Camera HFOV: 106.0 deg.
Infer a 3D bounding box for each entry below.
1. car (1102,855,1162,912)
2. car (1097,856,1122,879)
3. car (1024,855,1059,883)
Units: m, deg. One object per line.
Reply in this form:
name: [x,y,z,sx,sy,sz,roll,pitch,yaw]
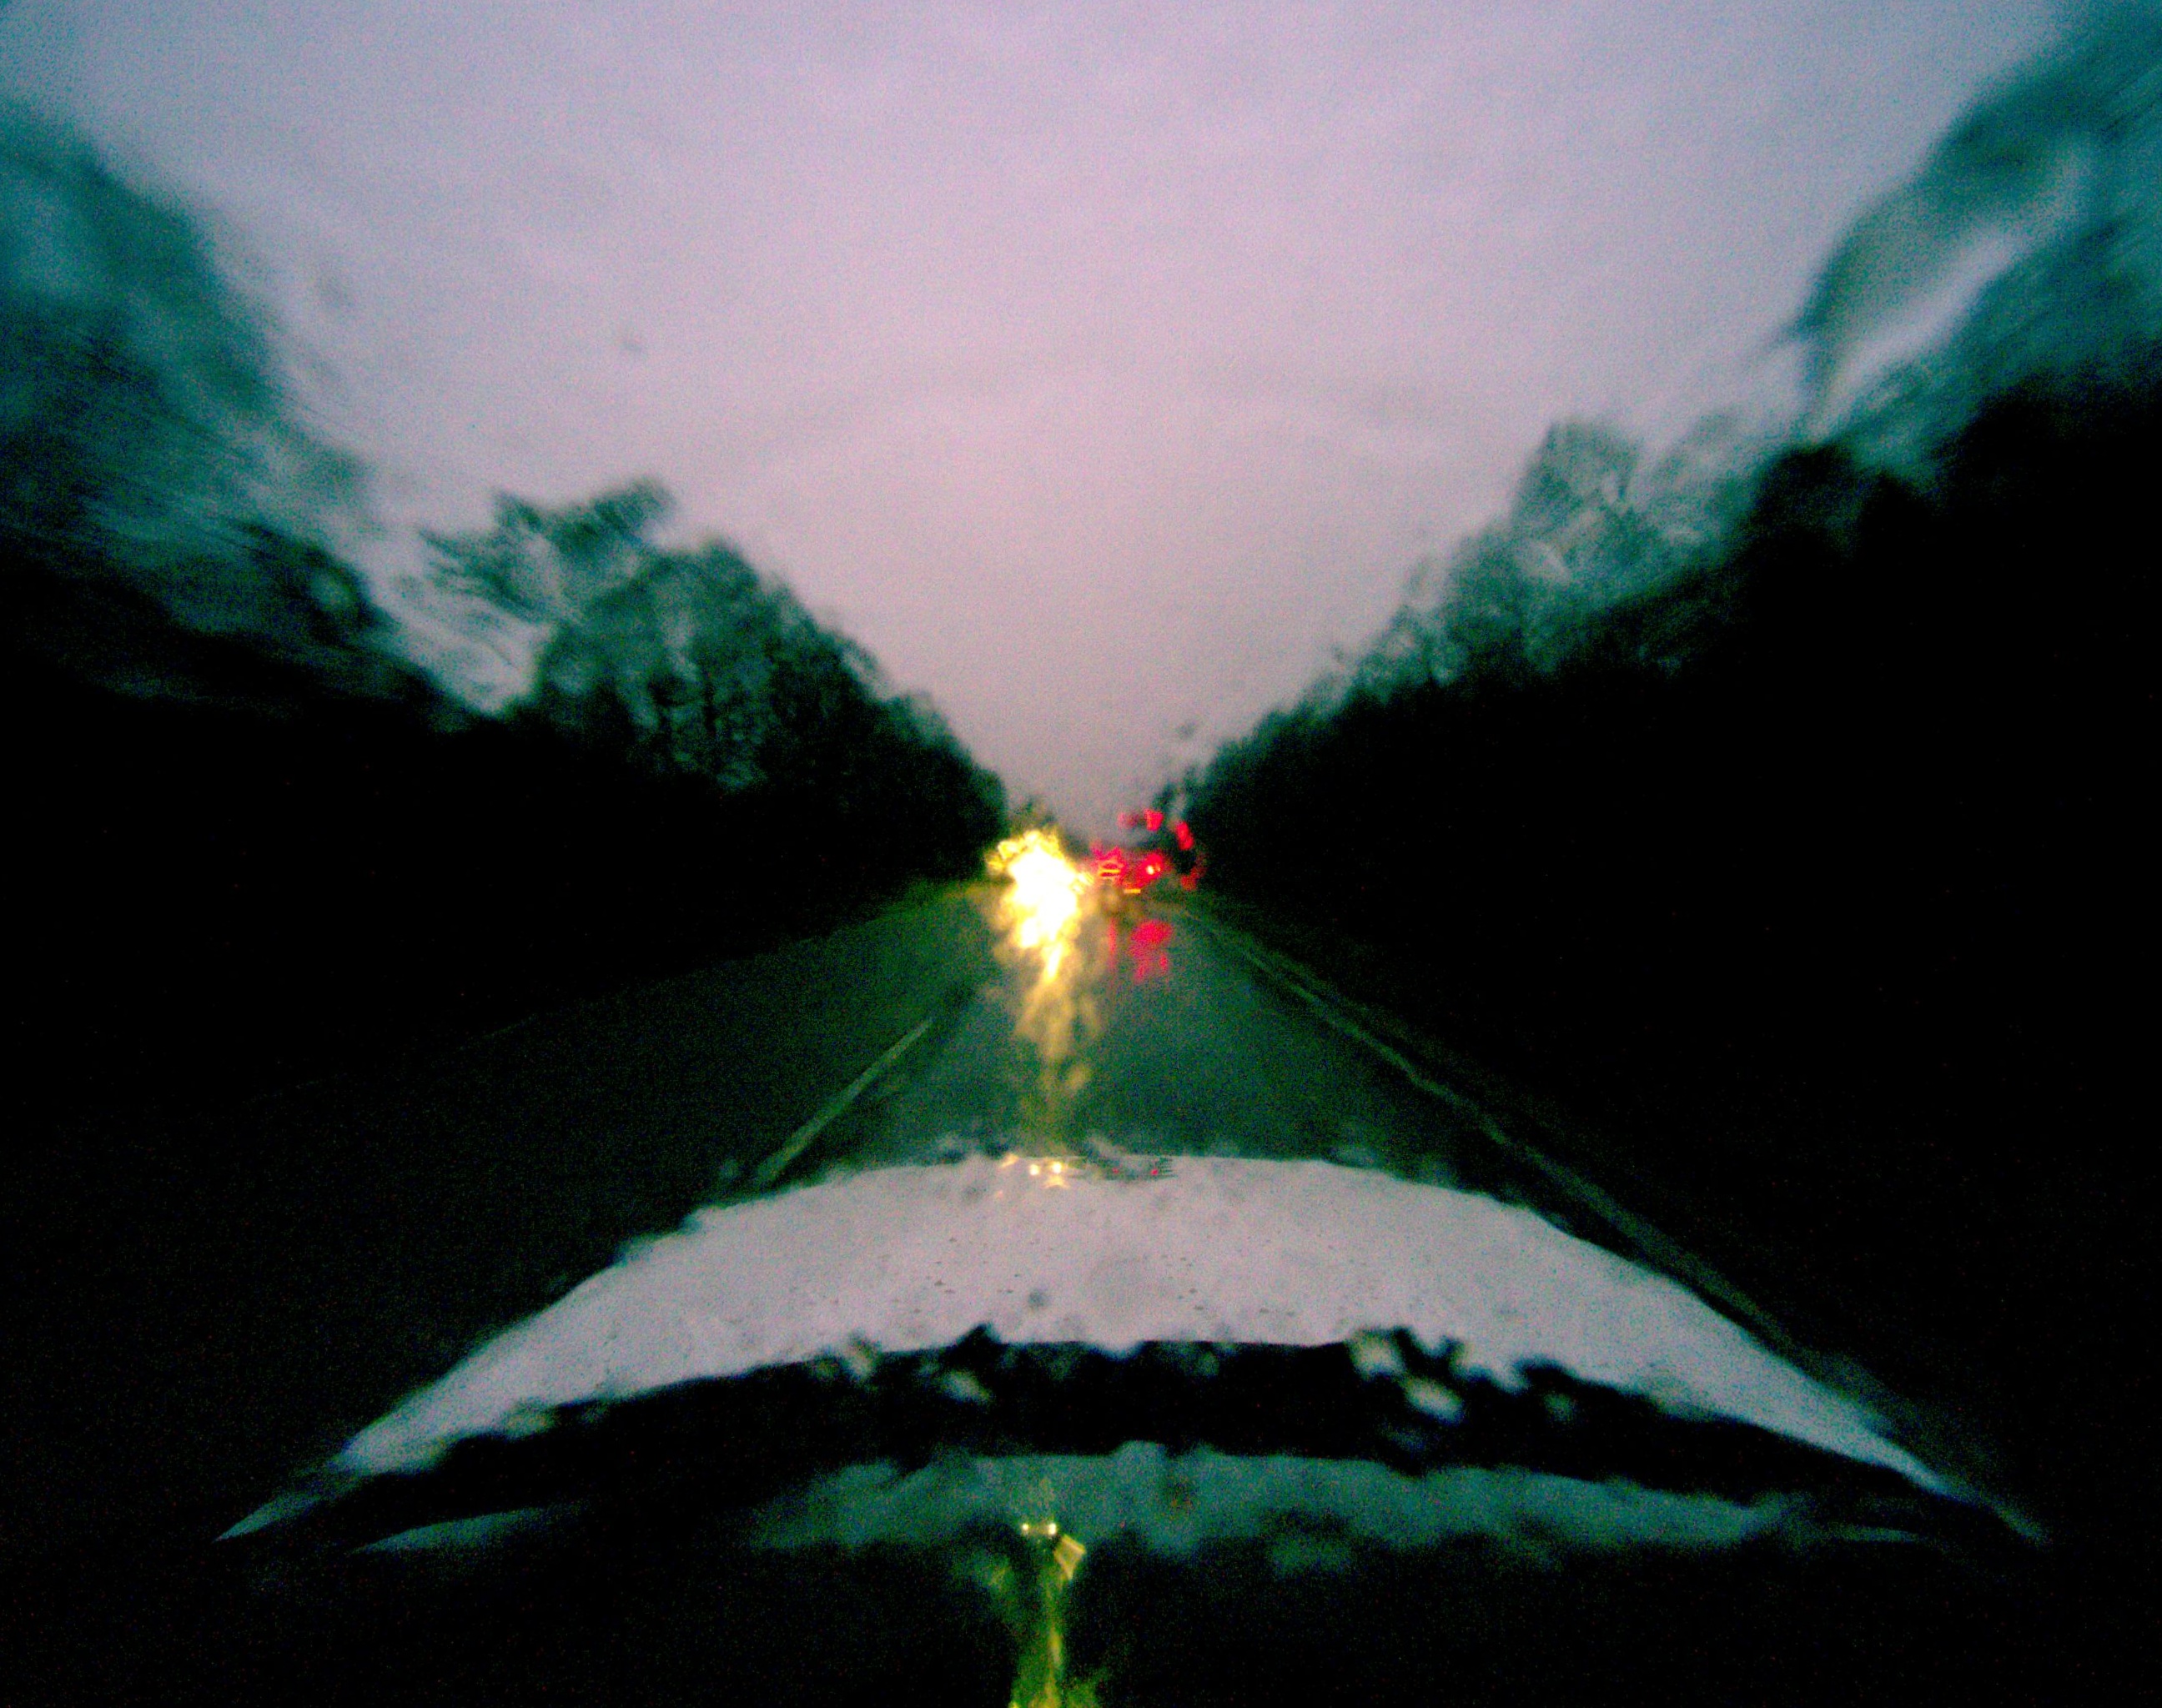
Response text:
car: [1.582,0.864,25.472,1.720,1.643,4.003,0,-1,3]
car: [2.149,0.989,60.831,1.720,1.643,4.003,0,-1,3]
car: [-2.418,0.903,50.837,1.865,1.607,4.197,-1,0,1]
